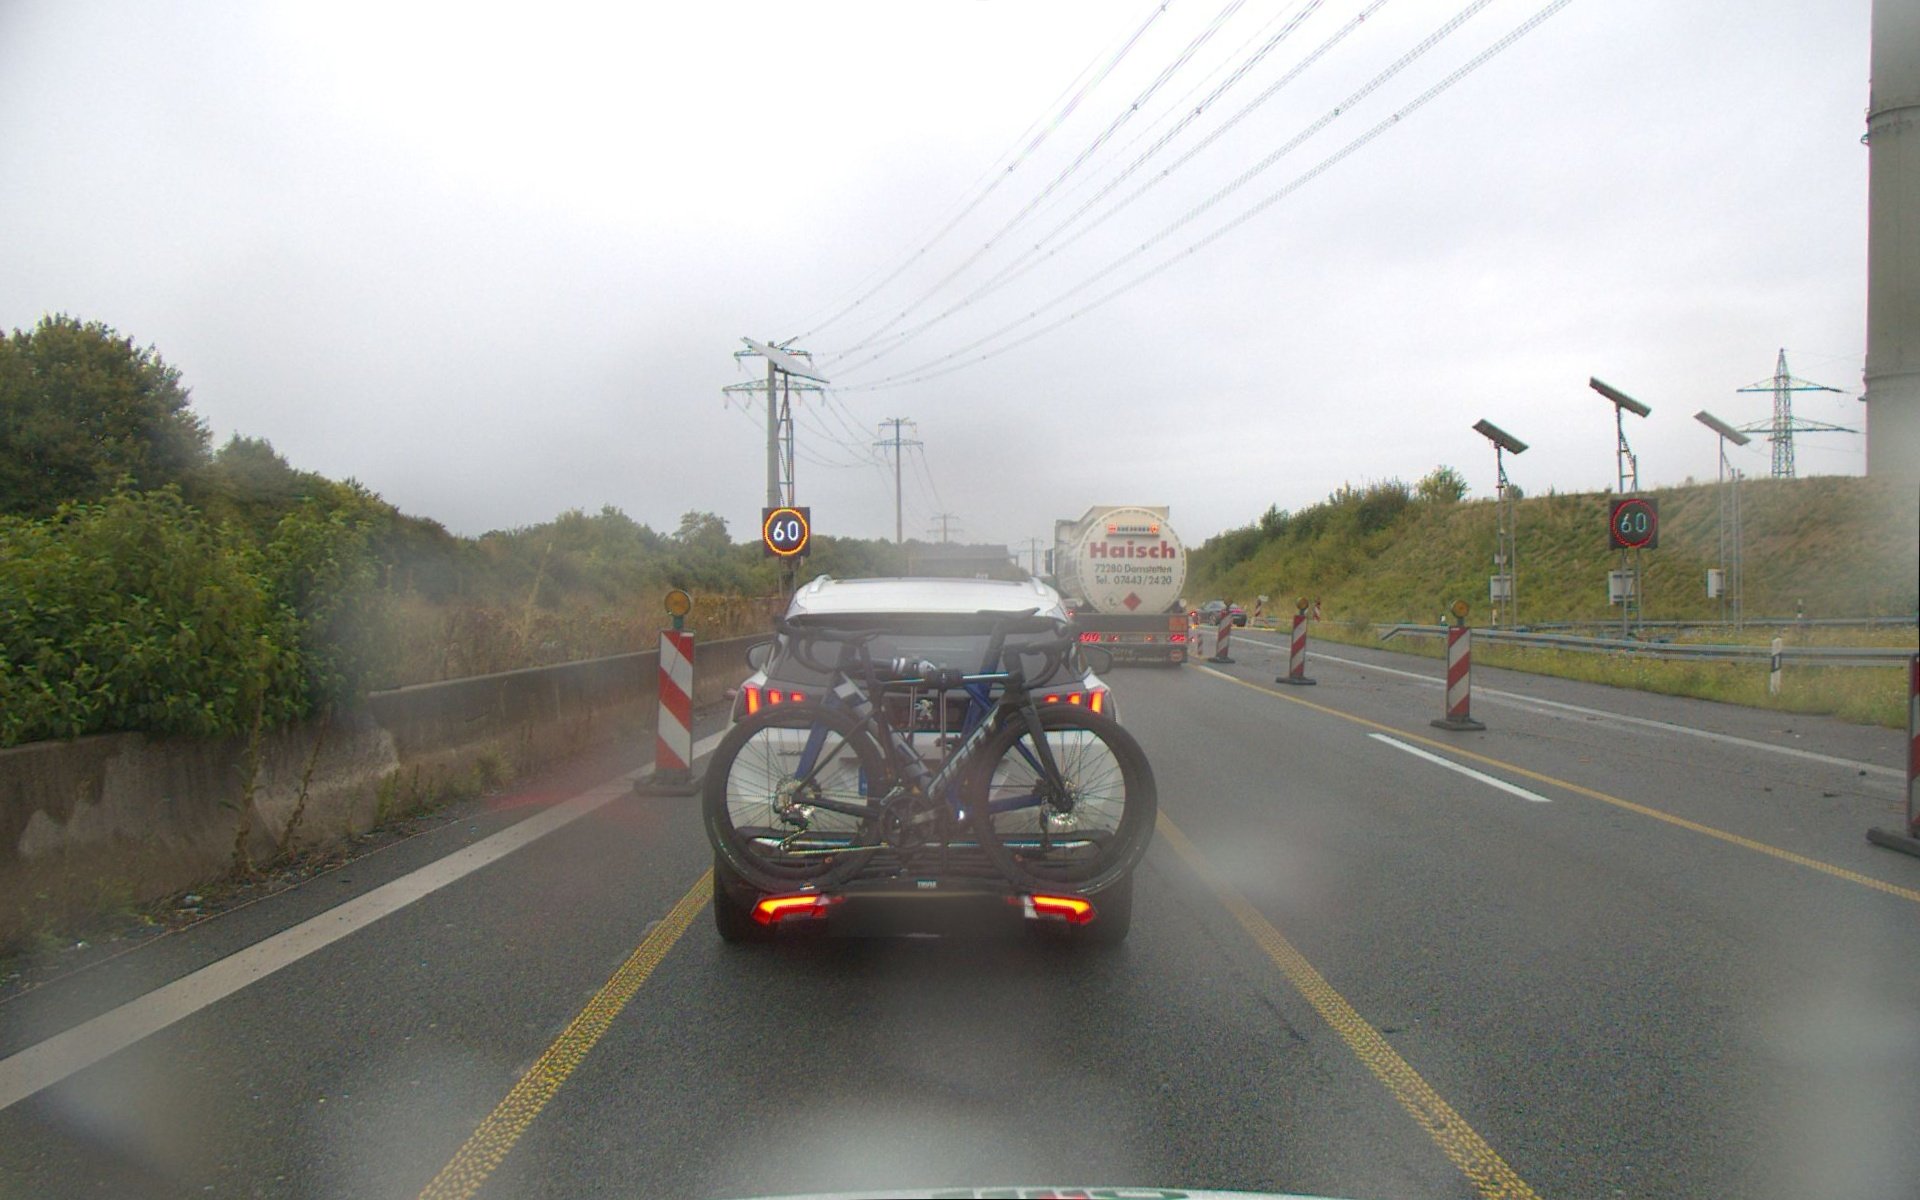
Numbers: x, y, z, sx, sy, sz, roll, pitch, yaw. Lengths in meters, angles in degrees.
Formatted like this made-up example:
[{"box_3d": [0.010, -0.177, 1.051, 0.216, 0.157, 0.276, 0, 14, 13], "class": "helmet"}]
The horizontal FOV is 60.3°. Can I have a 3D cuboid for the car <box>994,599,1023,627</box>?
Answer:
[{"box_3d": [3.548, 0.954, 121.278, 1.953, 2.049, 3.999, 1, -1, -1], "class": "car"}]

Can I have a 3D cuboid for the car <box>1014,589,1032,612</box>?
[{"box_3d": [5.693, 0.036, 149.363, 1.619, 2.049, 4.002, 0, 0, 3], "class": "car"}]

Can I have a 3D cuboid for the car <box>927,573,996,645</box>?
[{"box_3d": [0.028, 0.242, 49.855, 1.953, 2.049, 3.999, -1, 0, -1], "class": "car"}]

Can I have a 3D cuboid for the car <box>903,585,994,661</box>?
[{"box_3d": [-0.281, 0.477, 37.484, 1.953, 1.611, 3.999, 0, 0, -1], "class": "car"}]

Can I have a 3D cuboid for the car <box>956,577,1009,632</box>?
[{"box_3d": [0.844, 0.145, 65.159, 1.953, 2.049, 3.999, -1, 0, -1], "class": "car"}]

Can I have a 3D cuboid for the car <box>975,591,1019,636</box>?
[{"box_3d": [1.741, 0.646, 78.799, 1.953, 2.049, 3.999, 1, -1, -1], "class": "car"}]

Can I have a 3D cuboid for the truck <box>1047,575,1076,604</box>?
[{"box_3d": [14.460, -1.435, 236.869, 3.654, 3.889, 11.869, 0, -1, 1], "class": "truck"}]

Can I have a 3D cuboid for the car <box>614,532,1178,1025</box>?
[{"box_3d": [-0.159, 0.591, 7.865, 1.888, 1.639, 4.596, 0, 0, 1], "class": "car"}]

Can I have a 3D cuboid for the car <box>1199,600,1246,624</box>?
[{"box_3d": [13.878, 0.646, 87.766, 1.454, 1.181, 3.901, -2, 0, -6], "class": "car"}]

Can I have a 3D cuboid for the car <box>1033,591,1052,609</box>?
[{"box_3d": [9.638, -0.033, 193.421, 1.953, 2.049, 3.999, 1, -1, -1], "class": "car"}]

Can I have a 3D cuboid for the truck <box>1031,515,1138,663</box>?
[{"box_3d": [3.444, -0.275, 46.591, 2.591, 3.959, 4.029, 1, -1, -1], "class": "truck"}]

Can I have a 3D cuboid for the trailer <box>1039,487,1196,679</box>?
[{"box_3d": [3.550, -0.317, 39.905, 2.584, 3.961, 10.541, 1, 0, -1], "class": "trailer"}]
